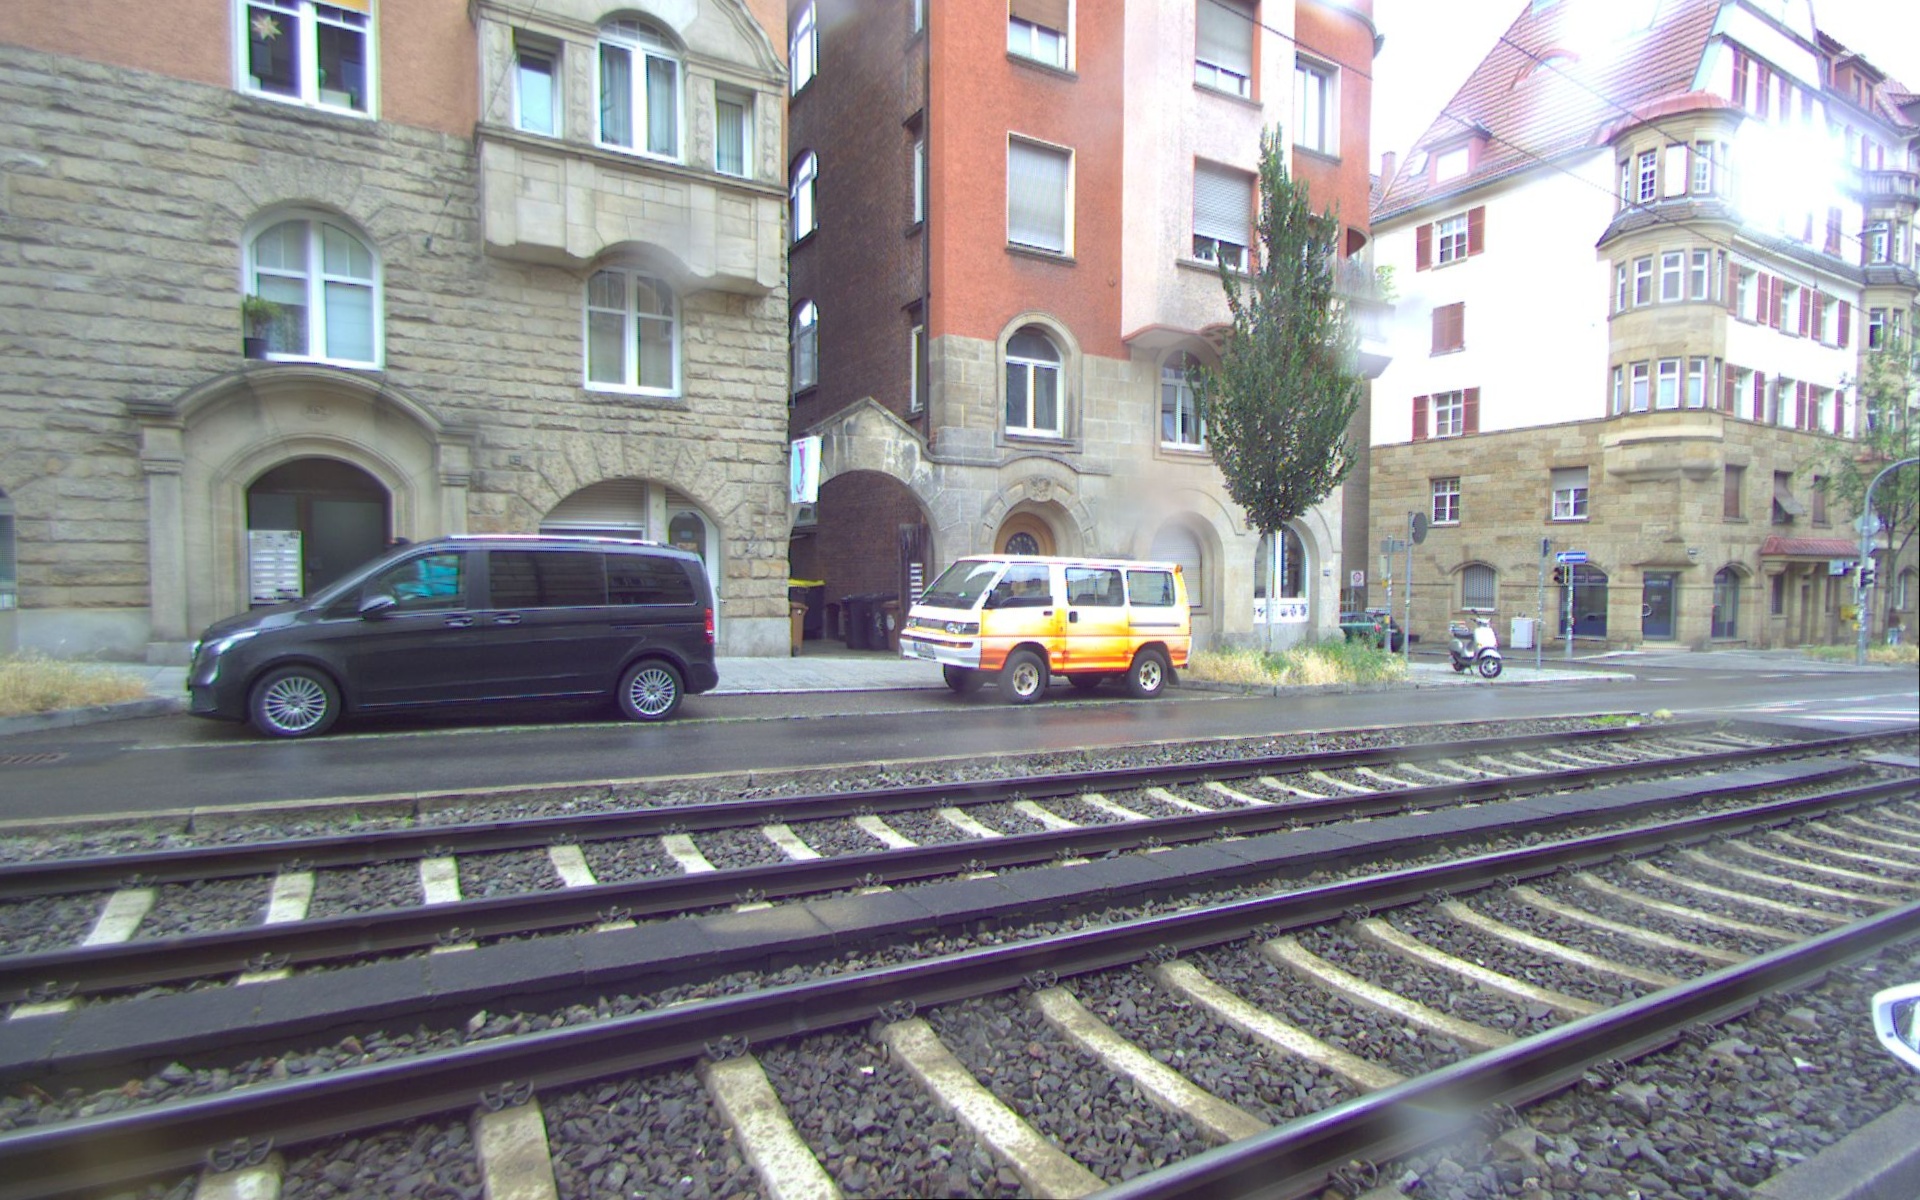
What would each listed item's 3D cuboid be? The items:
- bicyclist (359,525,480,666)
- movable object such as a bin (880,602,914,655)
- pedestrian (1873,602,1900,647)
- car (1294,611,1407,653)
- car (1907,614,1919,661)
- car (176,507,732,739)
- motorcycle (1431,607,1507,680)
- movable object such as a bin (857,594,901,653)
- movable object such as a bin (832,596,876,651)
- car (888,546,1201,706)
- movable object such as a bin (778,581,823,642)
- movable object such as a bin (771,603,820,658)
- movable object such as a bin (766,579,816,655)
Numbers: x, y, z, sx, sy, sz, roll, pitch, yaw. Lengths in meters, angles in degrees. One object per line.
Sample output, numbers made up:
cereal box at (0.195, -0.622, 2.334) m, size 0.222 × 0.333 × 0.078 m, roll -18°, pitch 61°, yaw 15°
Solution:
bicyclist at (-6.582, -0.039, 12.233) m, size 1.239 × 1.618 × 0.880 m, roll 1°, pitch 0°, yaw -31°
movable object such as a bin at (-1.173, 0.521, 18.631) m, size 0.442 × 0.957 × 0.557 m, roll 1°, pitch -1°, yaw -27°
pedestrian at (35.415, 0.950, 38.402) m, size 0.697 × 1.695 × 0.626 m, roll 2°, pitch 0°, yaw -39°
car at (14.462, 1.165, 37.342) m, size 1.683 × 1.423 × 3.618 m, roll 2°, pitch 0°, yaw -34°
car at (34.169, 1.336, 34.352) m, size 3.994 × 1.573 × 1.742 m, roll 2°, pitch 0°, yaw -34°
car at (-5.051, 0.254, 10.594) m, size 4.769 × 1.968 × 1.984 m, roll 2°, pitch 0°, yaw -30°
motorcycle at (10.106, 0.835, 19.999) m, size 0.612 × 1.384 × 1.596 m, roll 2°, pitch 0°, yaw -3°
movable object such as a bin at (-1.545, 0.446, 19.139) m, size 0.607 × 1.090 × 0.679 m, roll 1°, pitch -1°, yaw -27°
movable object such as a bin at (-2.083, 0.451, 19.685) m, size 0.607 × 1.052 × 0.793 m, roll 1°, pitch -1°, yaw -27°
car at (1.276, 0.380, 14.439) m, size 4.295 × 2.001 × 1.721 m, roll 2°, pitch 0°, yaw -32°
movable object such as a bin at (-3.610, 0.245, 22.656) m, size 0.676 × 1.324 × 1.154 m, roll 1°, pitch 1°, yaw -26°
movable object such as a bin at (-2.891, 0.528, 17.590) m, size 0.627 × 0.918 × 0.793 m, roll 1°, pitch 1°, yaw -27°
movable object such as a bin at (-3.106, 0.307, 18.463) m, size 0.648 × 1.360 × 0.903 m, roll 1°, pitch 1°, yaw -27°
